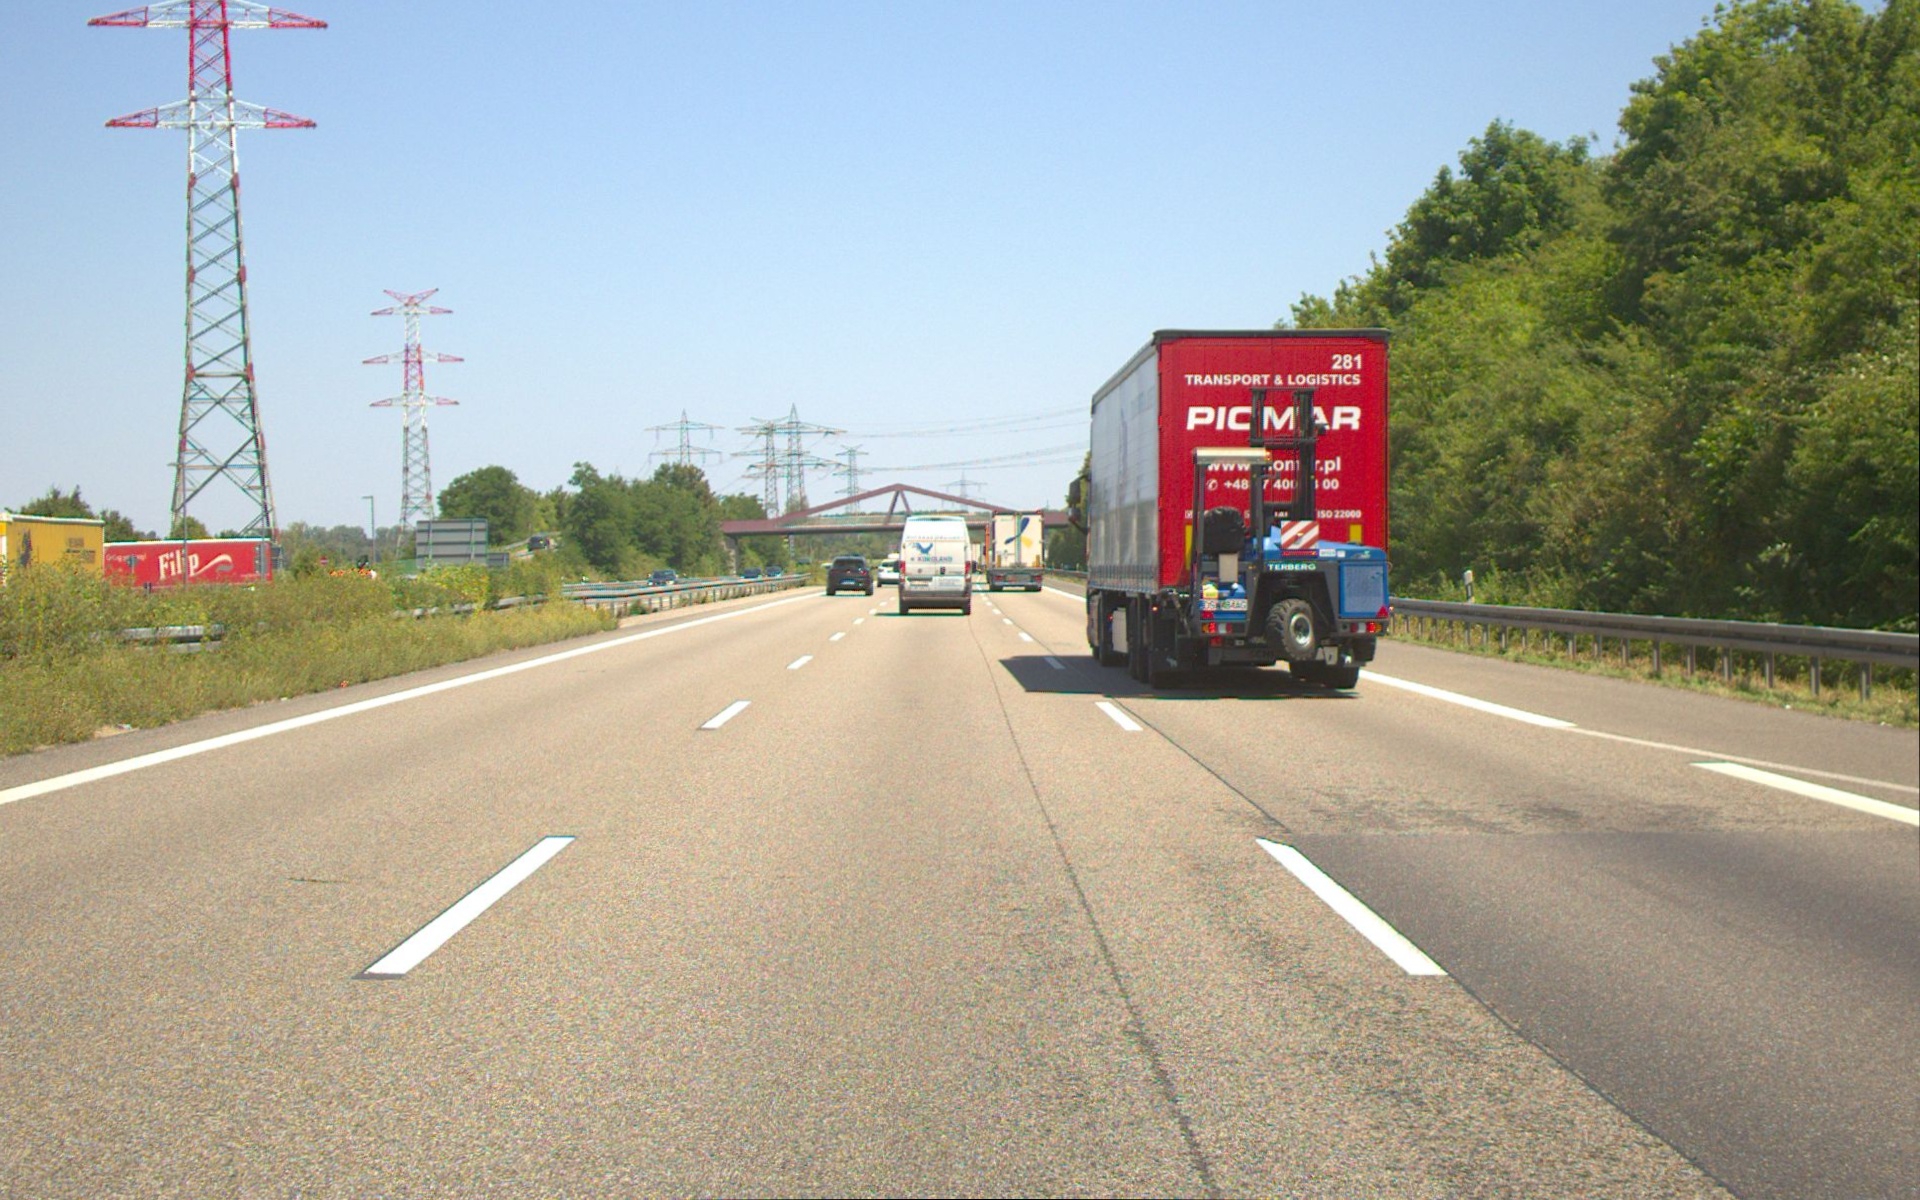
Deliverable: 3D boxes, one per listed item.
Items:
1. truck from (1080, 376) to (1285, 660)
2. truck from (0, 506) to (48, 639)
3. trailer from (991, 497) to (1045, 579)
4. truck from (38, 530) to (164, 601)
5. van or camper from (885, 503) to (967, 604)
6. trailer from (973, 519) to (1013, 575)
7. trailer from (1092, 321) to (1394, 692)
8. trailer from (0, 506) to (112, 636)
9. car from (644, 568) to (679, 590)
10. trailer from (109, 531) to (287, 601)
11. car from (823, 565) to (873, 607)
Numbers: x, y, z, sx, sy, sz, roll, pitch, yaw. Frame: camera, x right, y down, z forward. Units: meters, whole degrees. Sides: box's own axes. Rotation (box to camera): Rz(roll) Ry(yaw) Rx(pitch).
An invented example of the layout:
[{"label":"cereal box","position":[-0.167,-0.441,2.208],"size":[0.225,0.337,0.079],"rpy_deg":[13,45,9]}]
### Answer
[{"label":"truck","position":[3.181,-1.163,50.744],"size":[2.499,3.906,7.097],"rpy_deg":[0,1,-1]},{"label":"truck","position":[-31.636,-0.921,110.061],"size":[2.833,4.186,7.919],"rpy_deg":[1,1,-1]},{"label":"trailer","position":[2.955,-3.137,176.650],"size":[2.637,4.046,12.366],"rpy_deg":[1,1,1]},{"label":"truck","position":[-49.907,-1.986,199.924],"size":[3.124,4.035,6.632],"rpy_deg":[1,1,34]},{"label":"van or camper","position":[-0.949,-1.315,98.001],"size":[2.230,2.772,5.423],"rpy_deg":[1,1,0]},{"label":"trailer","position":[2.329,-3.699,241.482],"size":[2.637,3.883,7.068],"rpy_deg":[1,1,1]},{"label":"trailer","position":[3.253,-1.059,43.324],"size":[2.490,3.896,14.246],"rpy_deg":[0,1,-1]},{"label":"trailer","position":[-31.806,-1.025,117.994],"size":[2.833,4.205,11.084],"rpy_deg":[1,1,-1]},{"label":"car","position":[-18.497,-1.304,213.123],"size":[1.742,1.272,4.318],"rpy_deg":[-3,1,0]},{"label":"trailer","position":[-45.622,-1.992,206.230],"size":[3.127,4.041,11.291],"rpy_deg":[1,1,34]},{"label":"car","position":[-4.964,-0.633,153.028],"size":[1.982,1.811,3.812],"rpy_deg":[1,1,2]}]
